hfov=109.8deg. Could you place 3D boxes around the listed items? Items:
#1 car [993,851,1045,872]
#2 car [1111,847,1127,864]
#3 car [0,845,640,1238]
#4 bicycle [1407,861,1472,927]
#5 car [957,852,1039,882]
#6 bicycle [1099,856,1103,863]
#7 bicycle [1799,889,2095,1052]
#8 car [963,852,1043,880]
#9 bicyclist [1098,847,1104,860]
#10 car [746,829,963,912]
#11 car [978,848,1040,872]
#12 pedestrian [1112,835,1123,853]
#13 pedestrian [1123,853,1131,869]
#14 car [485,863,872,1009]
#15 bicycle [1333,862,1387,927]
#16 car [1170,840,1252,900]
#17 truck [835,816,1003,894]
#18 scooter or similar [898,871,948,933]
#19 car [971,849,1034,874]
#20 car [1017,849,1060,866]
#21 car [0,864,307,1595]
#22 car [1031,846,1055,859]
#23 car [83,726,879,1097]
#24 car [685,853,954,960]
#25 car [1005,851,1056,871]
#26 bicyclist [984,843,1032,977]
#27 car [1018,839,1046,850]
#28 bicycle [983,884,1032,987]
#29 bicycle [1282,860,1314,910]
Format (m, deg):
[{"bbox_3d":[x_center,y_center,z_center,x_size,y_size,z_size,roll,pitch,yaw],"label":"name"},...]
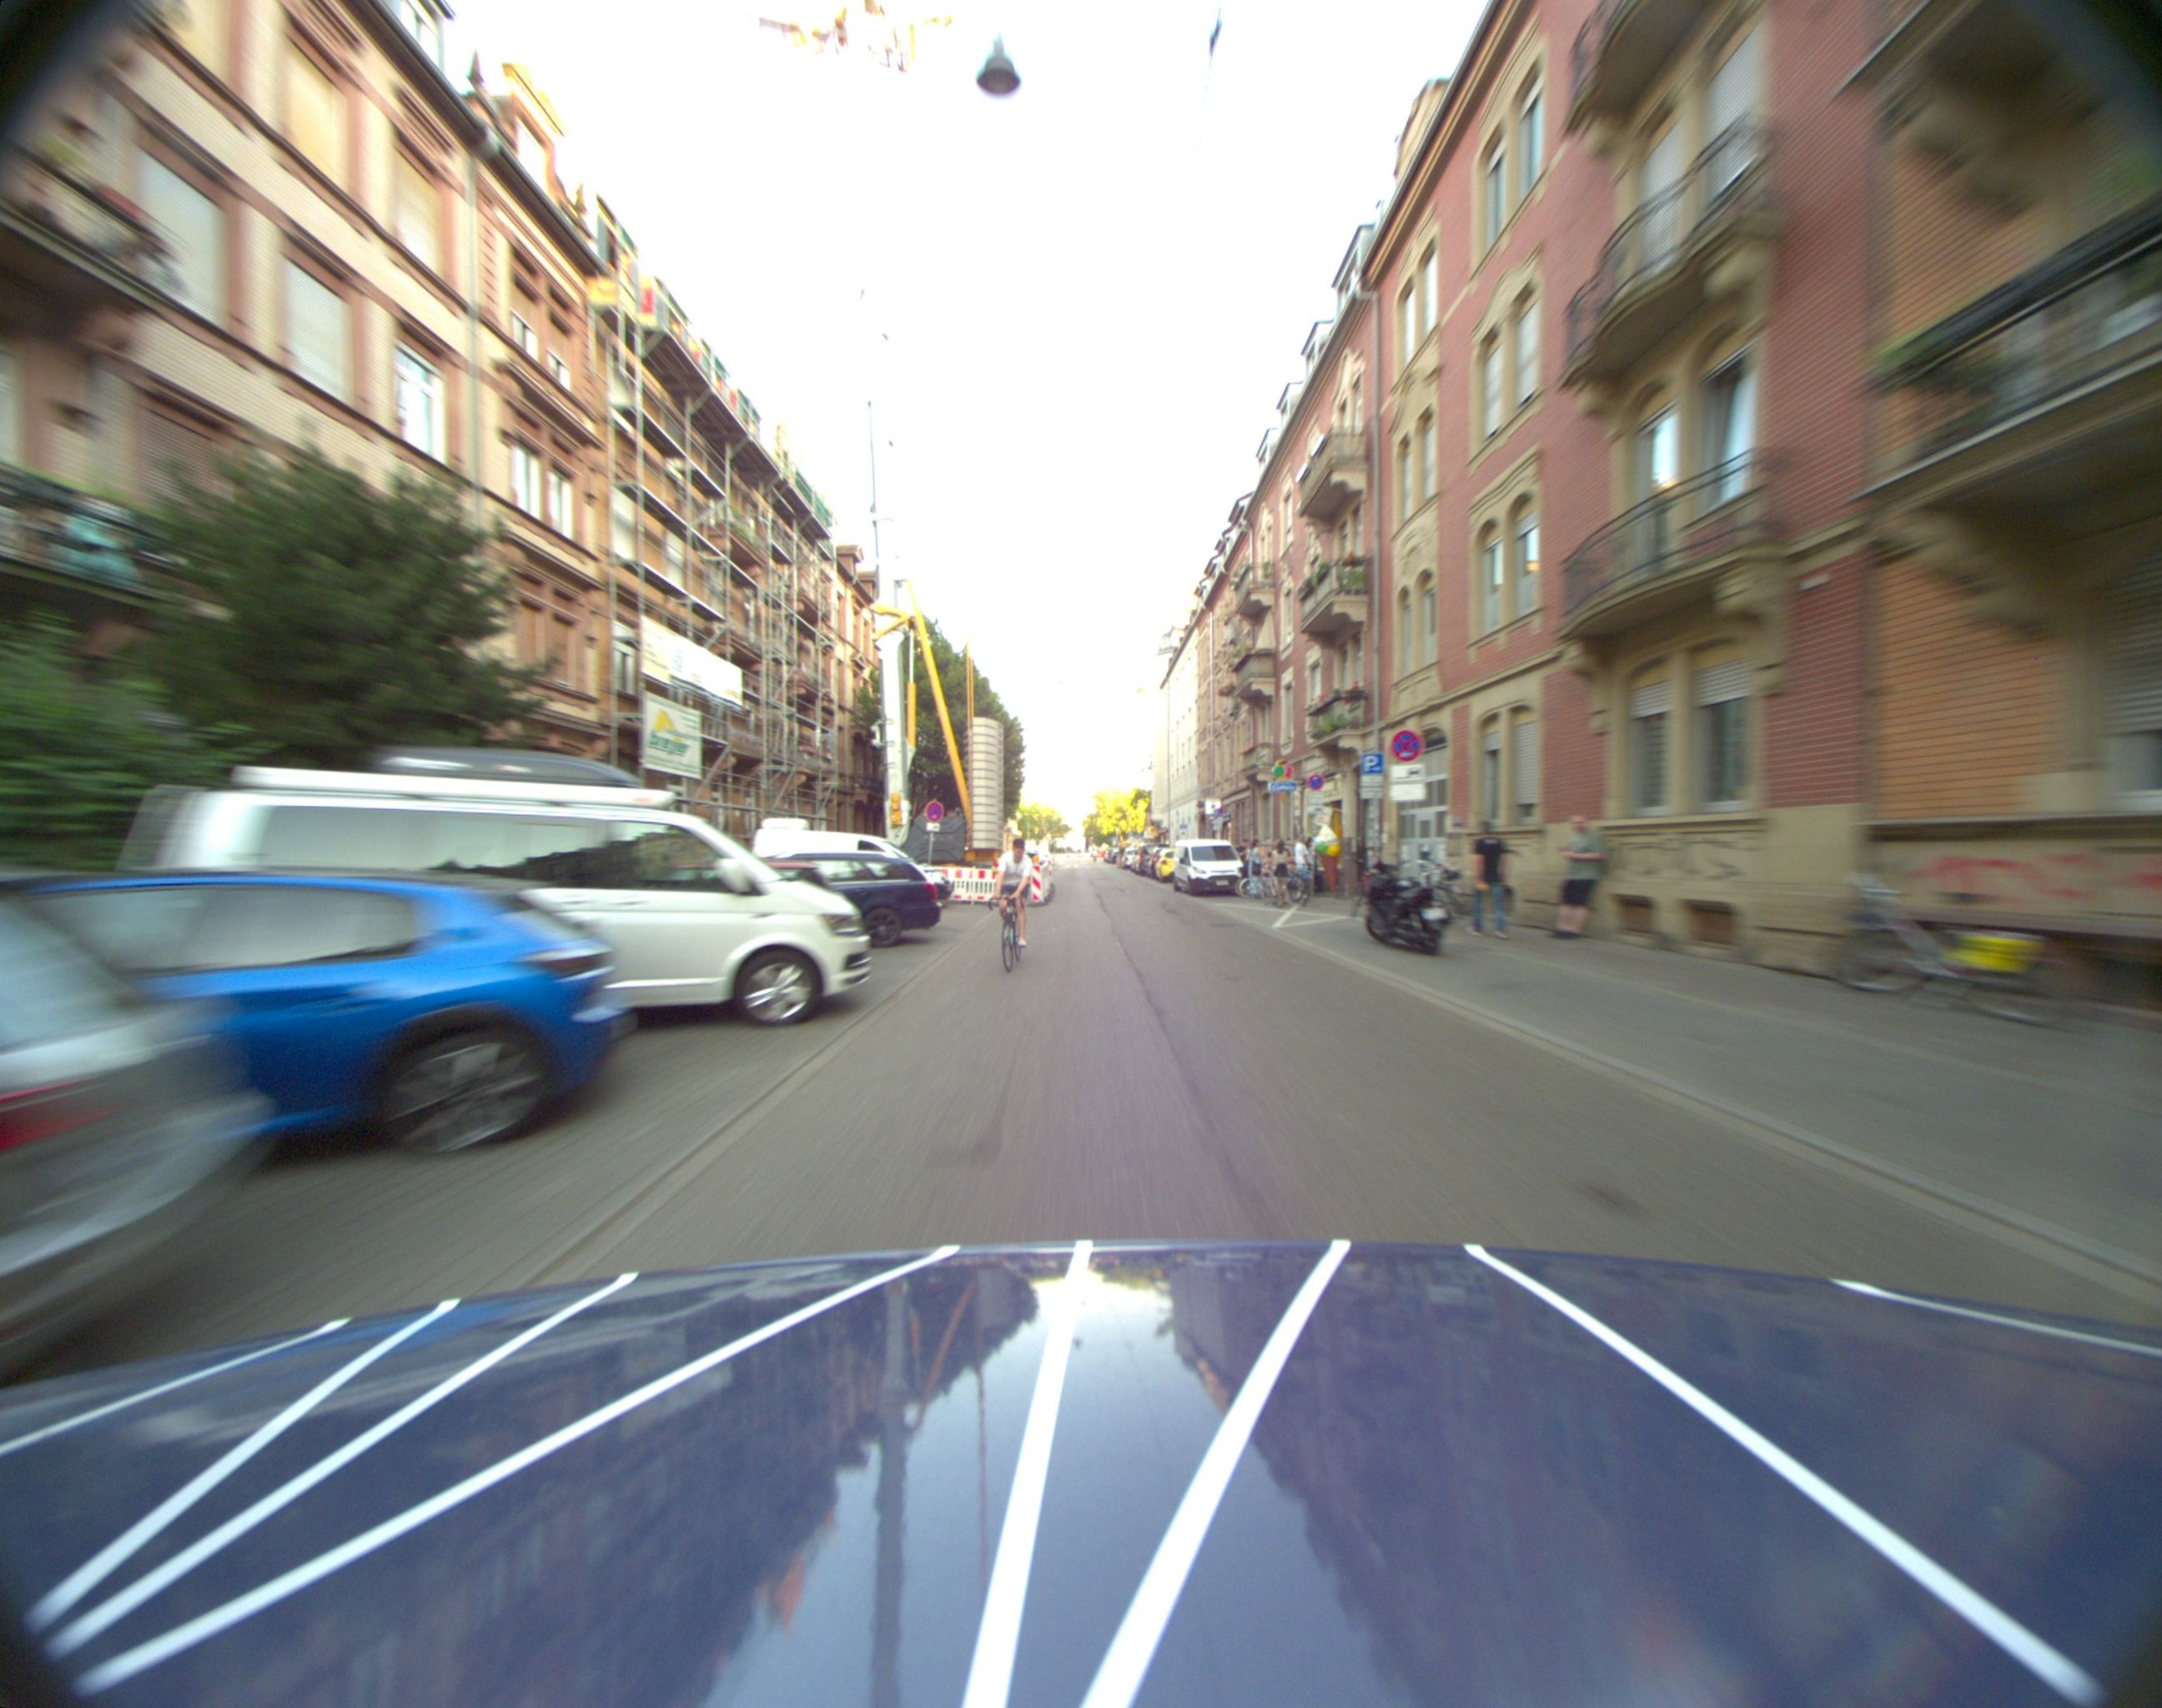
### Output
[{"bbox_3d":[-4.982,0.592,60.948,3.839,1.557,1.674,2,1,-21],"label":"car"},{"bbox_3d":[4.478,0.191,90.753,1.786,1.860,4.457,-2,1,2],"label":"car"},{"bbox_3d":[-4.723,0.752,3.912,4.173,1.581,1.881,0,0,-28],"label":"car"},{"bbox_3d":[6.919,0.739,14.741,0.412,1.153,1.837,-2,1,1],"label":"bicycle"},{"bbox_3d":[-4.414,0.718,40.616,4.003,1.480,1.680,2,0,-34],"label":"car"},{"bbox_3d":[2.605,0.710,98.363,0.477,0.938,1.895,-2,1,-1],"label":"bicycle"},{"bbox_3d":[6.868,0.858,6.176,0.449,1.024,1.740,-2,1,1],"label":"bicycle"},{"bbox_3d":[-4.448,0.691,43.601,4.179,1.479,1.826,2,0,-36],"label":"car"},{"bbox_3d":[2.589,-0.079,98.285,0.624,1.682,1.003,-2,1,-1],"label":"bicyclist"},{"bbox_3d":[-5.942,0.439,20.403,5.186,1.944,1.899,2,-1,-1],"label":"car"},{"bbox_3d":[-4.923,0.417,52.022,3.807,1.508,1.646,2,0,-32],"label":"car"},{"bbox_3d":[5.549,-1.504,116.112,1.445,2.725,1.011,-2,1,-1],"label":"pedestrian"},{"bbox_3d":[3.926,0.624,64.713,0.571,1.315,0.496,-2,1,-1],"label":"pedestrian"},{"bbox_3d":[-4.767,0.837,9.343,3.874,1.400,1.754,0,1,-33],"label":"car"},{"bbox_3d":[5.511,0.774,15.103,0.412,1.153,1.837,-2,1,1],"label":"bicycle"},{"bbox_3d":[4.209,0.462,25.287,1.775,1.778,4.586,-1,1,-2],"label":"car"},{"bbox_3d":[-6.812,0.035,32.529,6.495,3.059,2.524,-2,1,3],"label":"truck"},{"bbox_3d":[-3.180,0.934,15.219,0.657,1.143,1.481,1,0,-24],"label":"scooter or similar"},{"bbox_3d":[-5.036,0.466,48.965,3.638,1.508,1.621,2,0,-28],"label":"car"},{"bbox_3d":[-4.185,0.361,74.571,3.842,1.510,1.673,2,1,-32],"label":"car"},{"bbox_3d":[-4.531,0.777,1.247,4.174,1.581,1.881,2,-1,-31],"label":"car"},{"bbox_3d":[-7.145,-0.278,142.288,4.202,2.280,1.673,2,1,-39],"label":"car"},{"bbox_3d":[-4.507,0.382,6.781,4.946,2.348,1.996,0,0,-26],"label":"car"},{"bbox_3d":[-4.205,0.749,12.339,3.873,1.507,1.844,0,0,-26],"label":"car"},{"bbox_3d":[-4.218,0.578,63.612,3.841,1.557,1.673,2,1,-30],"label":"car"},{"bbox_3d":[-0.953,0.710,10.095,0.529,1.694,0.789,-2,1,-2],"label":"bicyclist"},{"bbox_3d":[-7.512,-1.414,116.037,3.841,1.510,1.673,2,1,-28],"label":"car"},{"bbox_3d":[-0.944,1.020,10.089,0.520,1.148,1.782,-2,1,-2],"label":"bicycle"},{"bbox_3d":[5.520,0.757,19.373,0.466,1.148,2.001,-1,1,7],"label":"bicycle"}]
